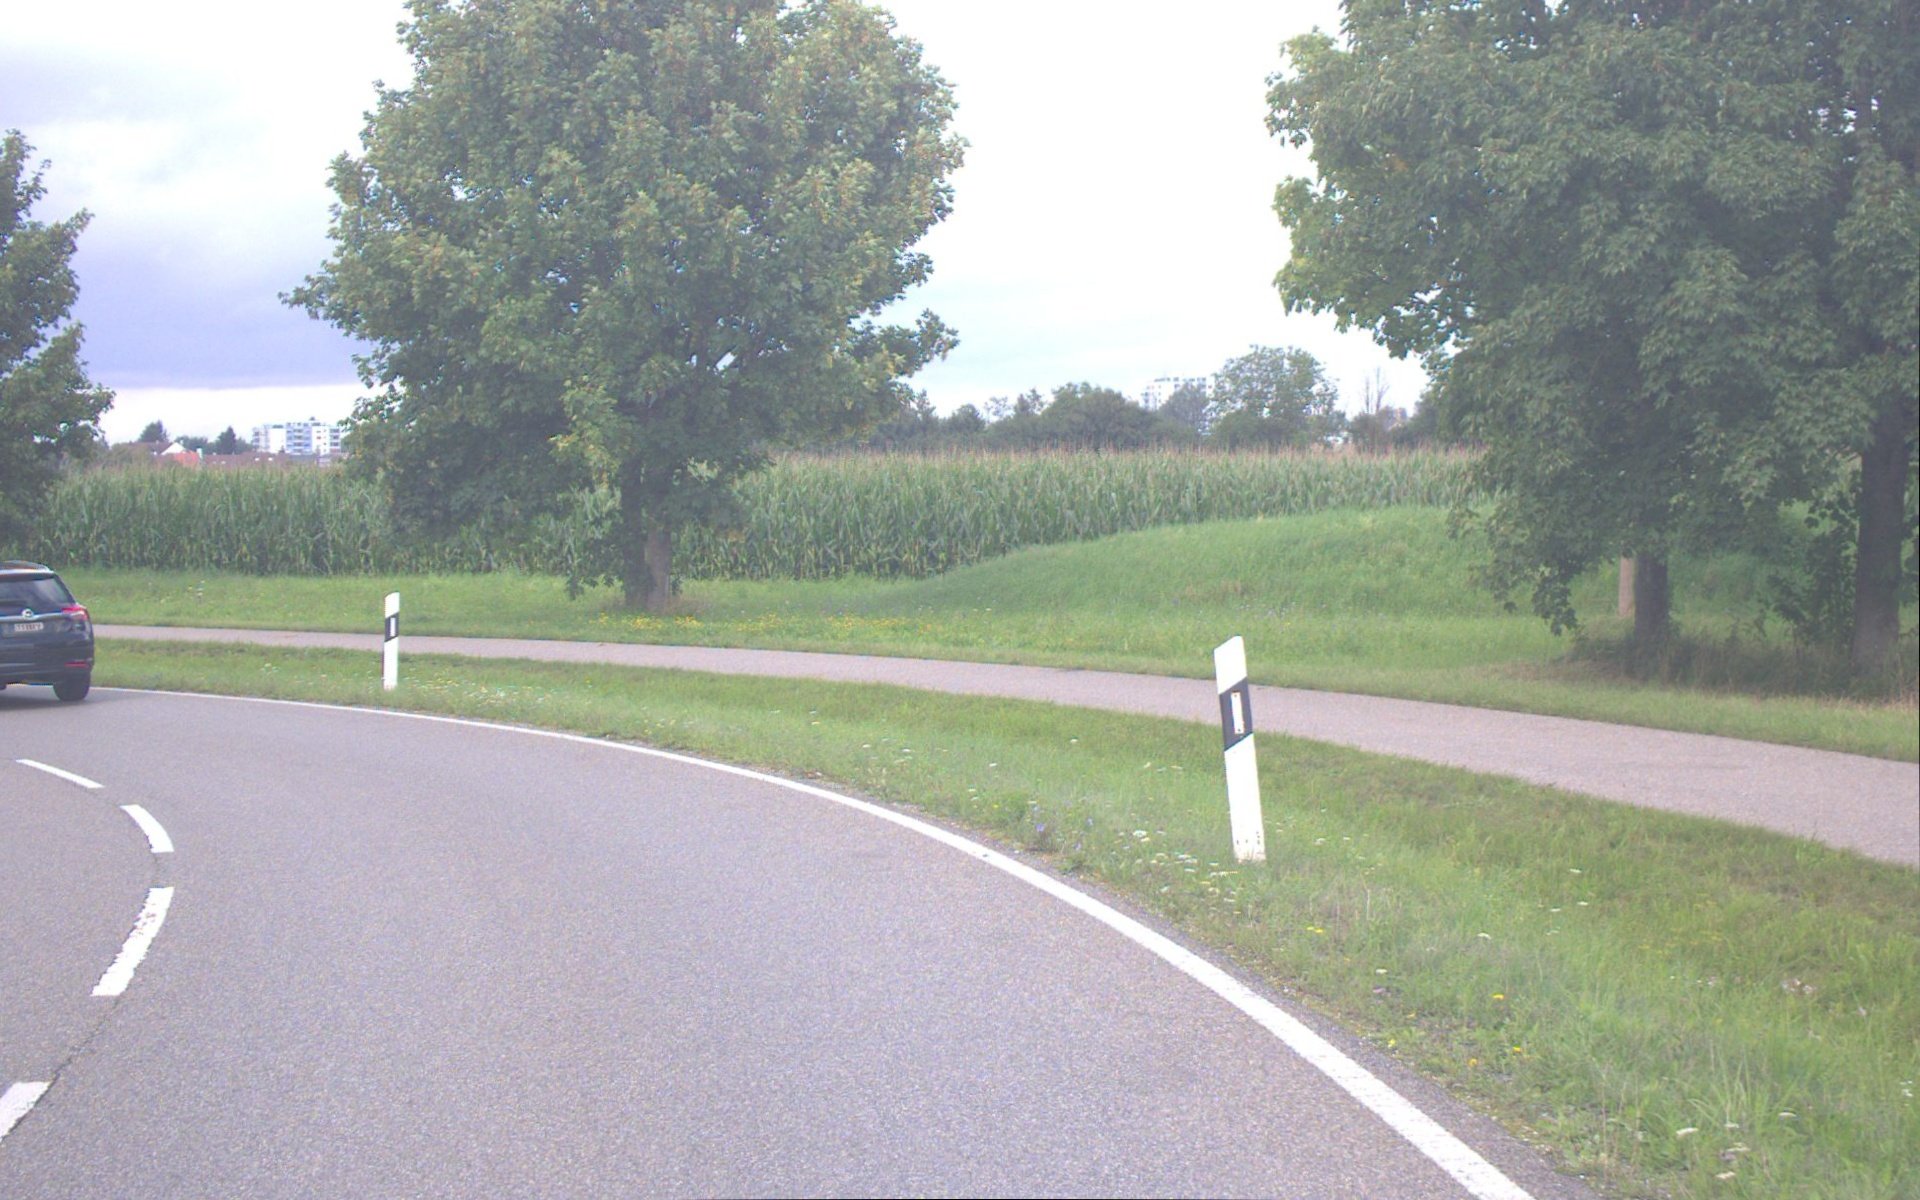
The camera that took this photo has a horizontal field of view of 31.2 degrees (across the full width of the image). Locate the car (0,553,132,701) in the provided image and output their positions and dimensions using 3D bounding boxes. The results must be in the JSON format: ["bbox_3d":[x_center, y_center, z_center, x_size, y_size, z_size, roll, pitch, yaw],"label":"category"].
[{"bbox_3d":[-10.272,0.238,35.952,1.841,1.412,4.000,-1,2,-34],"label":"car"}]
